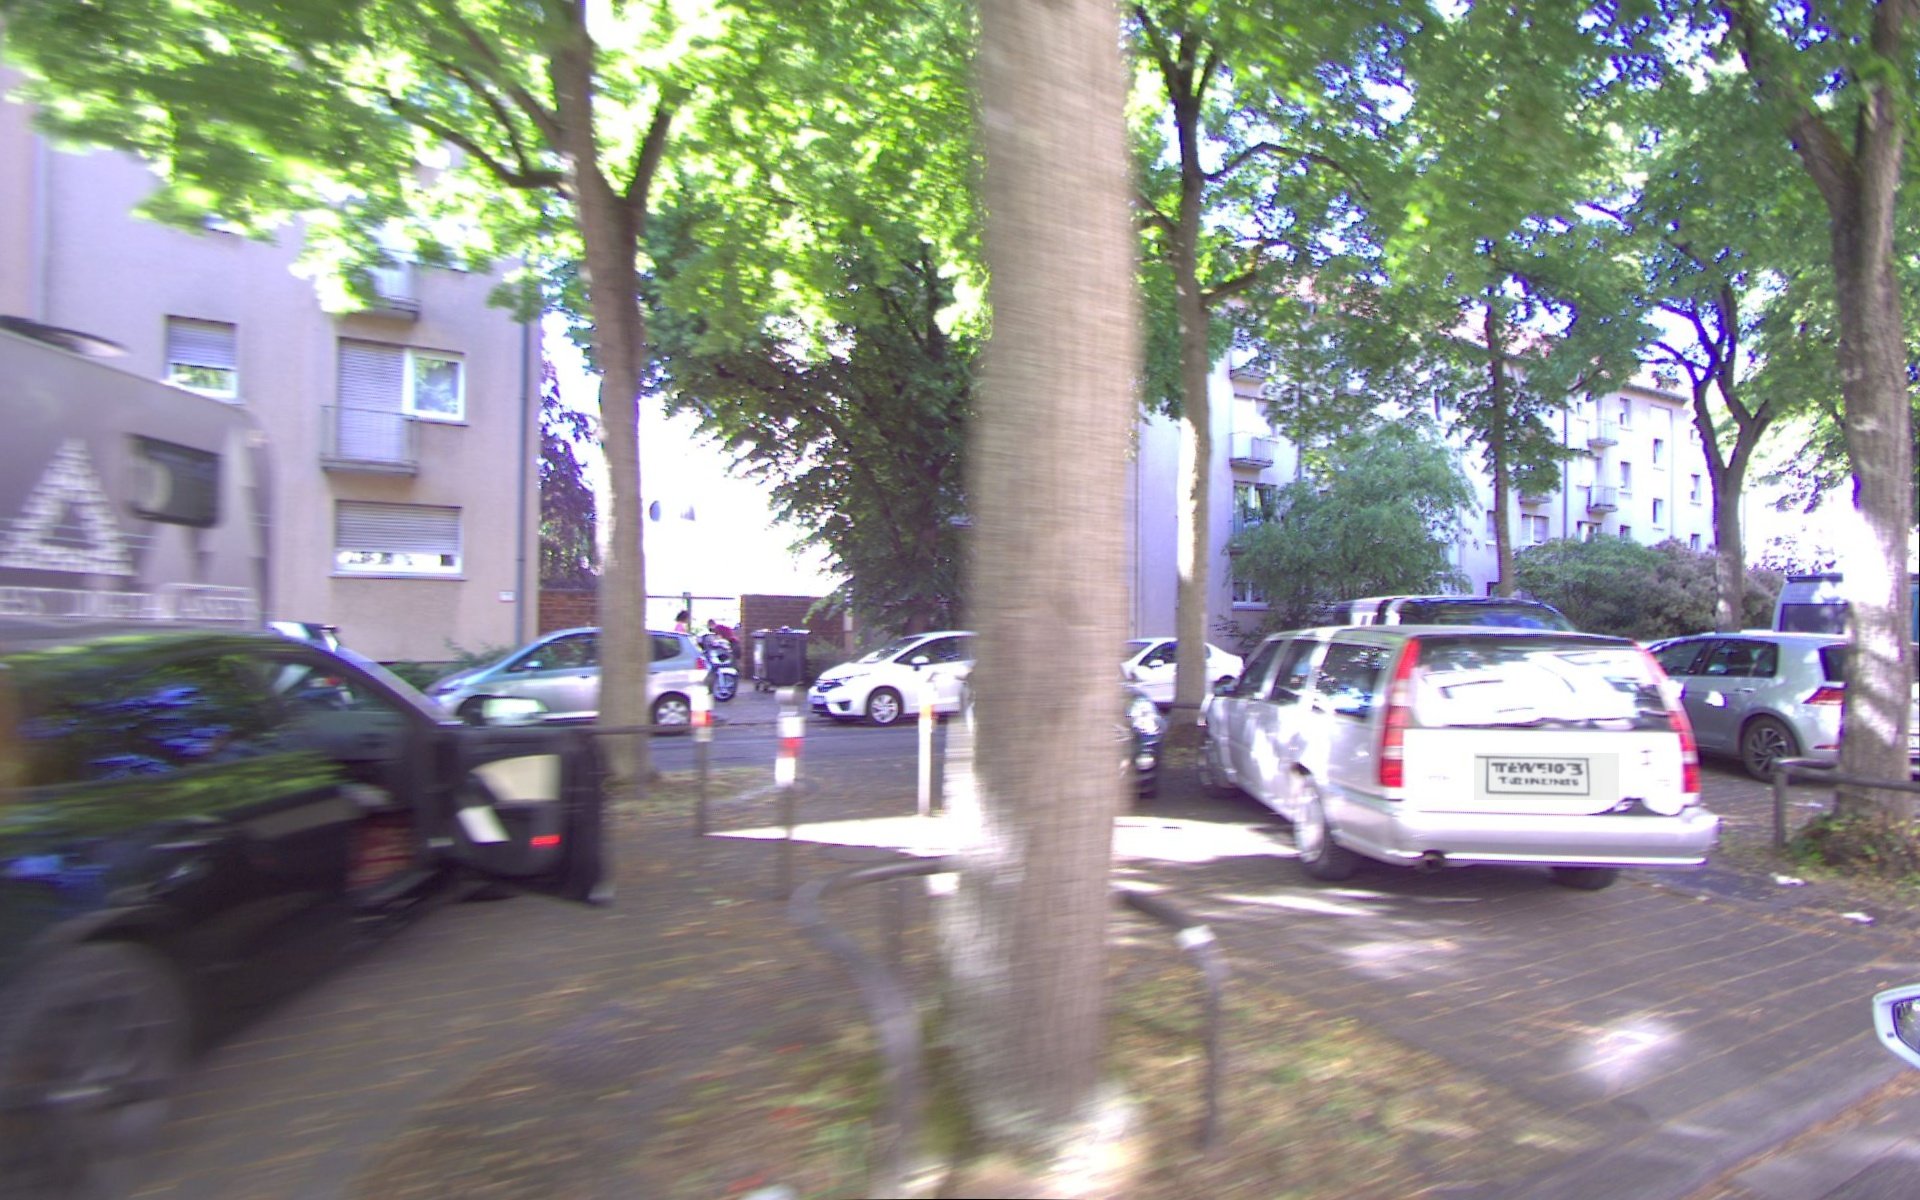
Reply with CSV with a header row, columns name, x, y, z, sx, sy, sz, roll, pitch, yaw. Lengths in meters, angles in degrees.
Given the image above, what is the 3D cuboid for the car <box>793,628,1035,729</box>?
name,x,y,z,sx,sy,sz,roll,pitch,yaw
car,-0.740,1.250,16.862,3.725,1.519,1.656,1,-1,-30

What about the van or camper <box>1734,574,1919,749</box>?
name,x,y,z,sx,sy,sz,roll,pitch,yaw
van or camper,13.697,0.819,13.387,2.179,2.305,5.512,1,-2,-6

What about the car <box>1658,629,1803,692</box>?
name,x,y,z,sx,sy,sz,roll,pitch,yaw
car,23.888,1.861,31.119,4.787,1.827,1.809,2,-3,-29

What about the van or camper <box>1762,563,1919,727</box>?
name,x,y,z,sx,sy,sz,roll,pitch,yaw
van or camper,16.724,0.752,16.599,2.211,2.672,5.888,0,-2,0

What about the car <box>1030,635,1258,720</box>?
name,x,y,z,sx,sy,sz,roll,pitch,yaw
car,3.563,1.422,19.186,4.245,1.443,1.656,1,-1,-30

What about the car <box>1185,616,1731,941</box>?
name,x,y,z,sx,sy,sz,roll,pitch,yaw
car,2.792,0.868,6.874,1.698,1.462,4.491,1,-1,3

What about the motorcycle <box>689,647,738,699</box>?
name,x,y,z,sx,sy,sz,roll,pitch,yaw
motorcycle,-4.853,1.415,19.722,0.530,0.932,1.769,1,-2,-28

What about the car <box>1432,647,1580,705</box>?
name,x,y,z,sx,sy,sz,roll,pitch,yaw
car,13.621,1.841,25.007,3.624,1.291,1.610,1,-1,-30

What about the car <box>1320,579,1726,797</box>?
name,x,y,z,sx,sy,sz,roll,pitch,yaw
car,5.481,0.780,10.602,1.774,1.787,4.561,1,-1,1

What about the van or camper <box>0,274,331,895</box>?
name,x,y,z,sx,sy,sz,roll,pitch,yaw
van or camper,-5.676,-0.109,3.782,2.269,2.968,7.248,0,-2,-3

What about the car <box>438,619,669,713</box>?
name,x,y,z,sx,sy,sz,roll,pitch,yaw
car,-7.110,1.107,17.624,3.569,1.501,1.617,1,-2,-30

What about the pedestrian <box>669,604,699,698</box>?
name,x,y,z,sx,sy,sz,roll,pitch,yaw
pedestrian,-5.537,1.021,20.143,0.457,1.851,0.497,1,-2,-30

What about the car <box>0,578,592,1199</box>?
name,x,y,z,sx,sy,sz,roll,pitch,yaw
car,-2.770,0.700,3.363,1.643,1.443,4.328,1,-1,-3

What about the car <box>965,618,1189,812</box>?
name,x,y,z,sx,sy,sz,roll,pitch,yaw
car,0.899,0.910,9.384,1.642,1.443,3.574,1,-1,0

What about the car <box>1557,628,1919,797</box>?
name,x,y,z,sx,sy,sz,roll,pitch,yaw
car,8.576,1.058,10.874,1.810,1.462,3.956,1,-1,-2

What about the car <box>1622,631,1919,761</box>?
name,x,y,z,sx,sy,sz,roll,pitch,yaw
car,11.070,1.174,13.564,1.687,1.449,4.000,1,-1,1

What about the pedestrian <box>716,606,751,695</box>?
name,x,y,z,sx,sy,sz,roll,pitch,yaw
pedestrian,-4.556,1.013,20.184,0.552,1.750,0.497,1,-2,-30

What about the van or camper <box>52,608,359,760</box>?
name,x,y,z,sx,sy,sz,roll,pitch,yaw
van or camper,-8.650,0.922,11.802,2.666,1.575,1.589,1,-2,-30

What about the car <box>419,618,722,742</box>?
name,x,y,z,sx,sy,sz,roll,pitch,yaw
car,-5.391,1.037,13.990,3.725,1.519,1.656,1,-1,-30

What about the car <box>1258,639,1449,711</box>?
name,x,y,z,sx,sy,sz,roll,pitch,yaw
car,8.802,1.617,22.382,4.311,1.443,1.656,1,-1,-30
